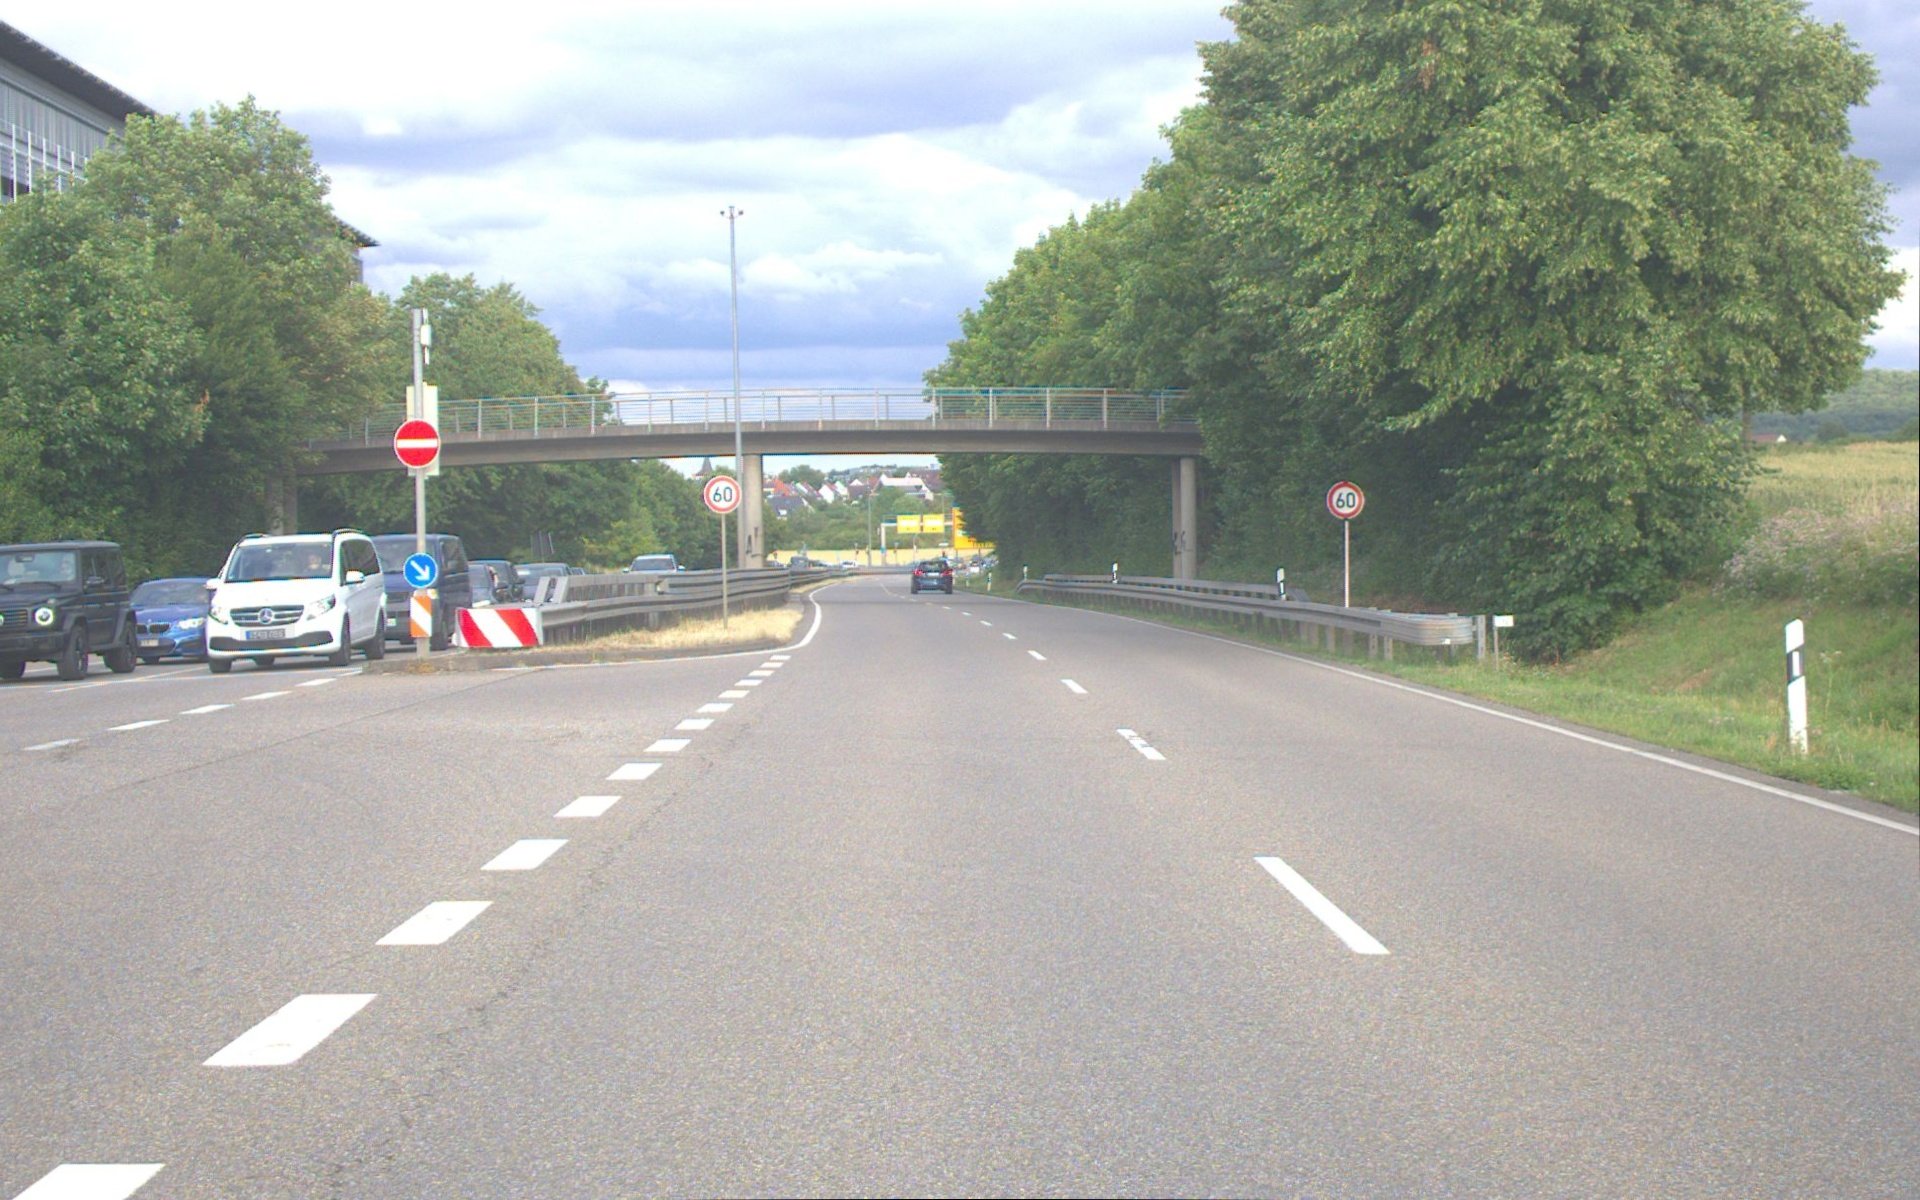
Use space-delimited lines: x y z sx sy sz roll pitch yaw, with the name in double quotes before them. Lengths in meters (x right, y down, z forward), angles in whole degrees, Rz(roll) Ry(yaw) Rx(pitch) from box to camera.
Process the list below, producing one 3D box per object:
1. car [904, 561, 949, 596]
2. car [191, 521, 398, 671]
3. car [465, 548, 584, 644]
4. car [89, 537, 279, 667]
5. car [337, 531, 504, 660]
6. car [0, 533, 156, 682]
"car" -1.527 -0.967 155.954 1.879 1.547 4.000 1 0 -2
"car" -9.478 -0.081 49.356 2.083 2.007 5.217 1 0 -2
"car" -9.534 -0.109 75.640 2.083 2.007 5.217 1 0 -2
"car" -12.743 0.004 56.747 2.083 2.007 5.217 1 0 -2
"car" -8.899 -0.098 57.093 2.083 2.007 5.217 1 0 -2
"car" -13.112 0.066 49.246 2.083 2.007 5.217 1 0 -2
